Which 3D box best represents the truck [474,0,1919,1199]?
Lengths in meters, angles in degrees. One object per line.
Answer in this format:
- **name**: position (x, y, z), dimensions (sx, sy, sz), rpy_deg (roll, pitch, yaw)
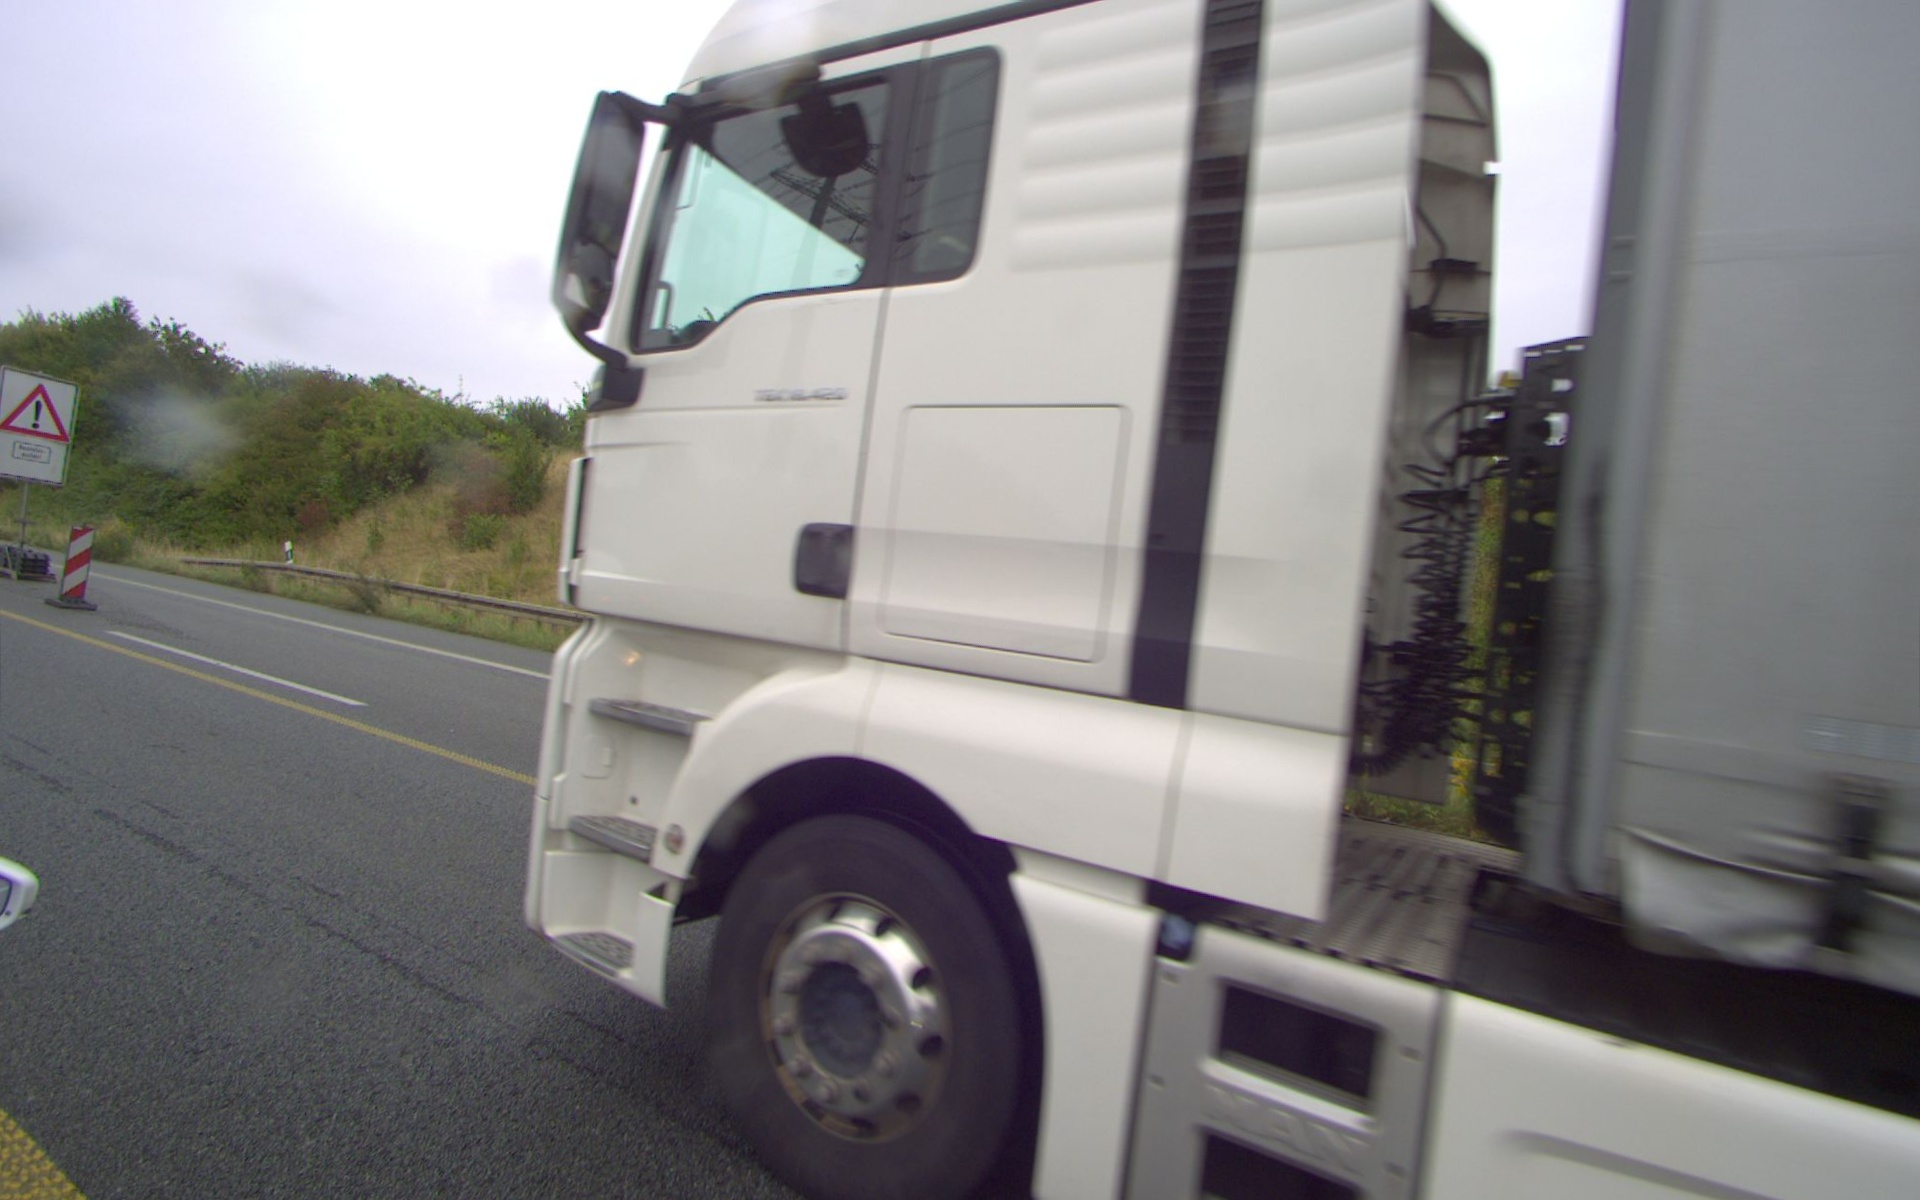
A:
- **truck**: position (1.819, -0.337, 2.760), dimensions (5.596, 4.188, 2.710), rpy_deg (7, 0, 32)
